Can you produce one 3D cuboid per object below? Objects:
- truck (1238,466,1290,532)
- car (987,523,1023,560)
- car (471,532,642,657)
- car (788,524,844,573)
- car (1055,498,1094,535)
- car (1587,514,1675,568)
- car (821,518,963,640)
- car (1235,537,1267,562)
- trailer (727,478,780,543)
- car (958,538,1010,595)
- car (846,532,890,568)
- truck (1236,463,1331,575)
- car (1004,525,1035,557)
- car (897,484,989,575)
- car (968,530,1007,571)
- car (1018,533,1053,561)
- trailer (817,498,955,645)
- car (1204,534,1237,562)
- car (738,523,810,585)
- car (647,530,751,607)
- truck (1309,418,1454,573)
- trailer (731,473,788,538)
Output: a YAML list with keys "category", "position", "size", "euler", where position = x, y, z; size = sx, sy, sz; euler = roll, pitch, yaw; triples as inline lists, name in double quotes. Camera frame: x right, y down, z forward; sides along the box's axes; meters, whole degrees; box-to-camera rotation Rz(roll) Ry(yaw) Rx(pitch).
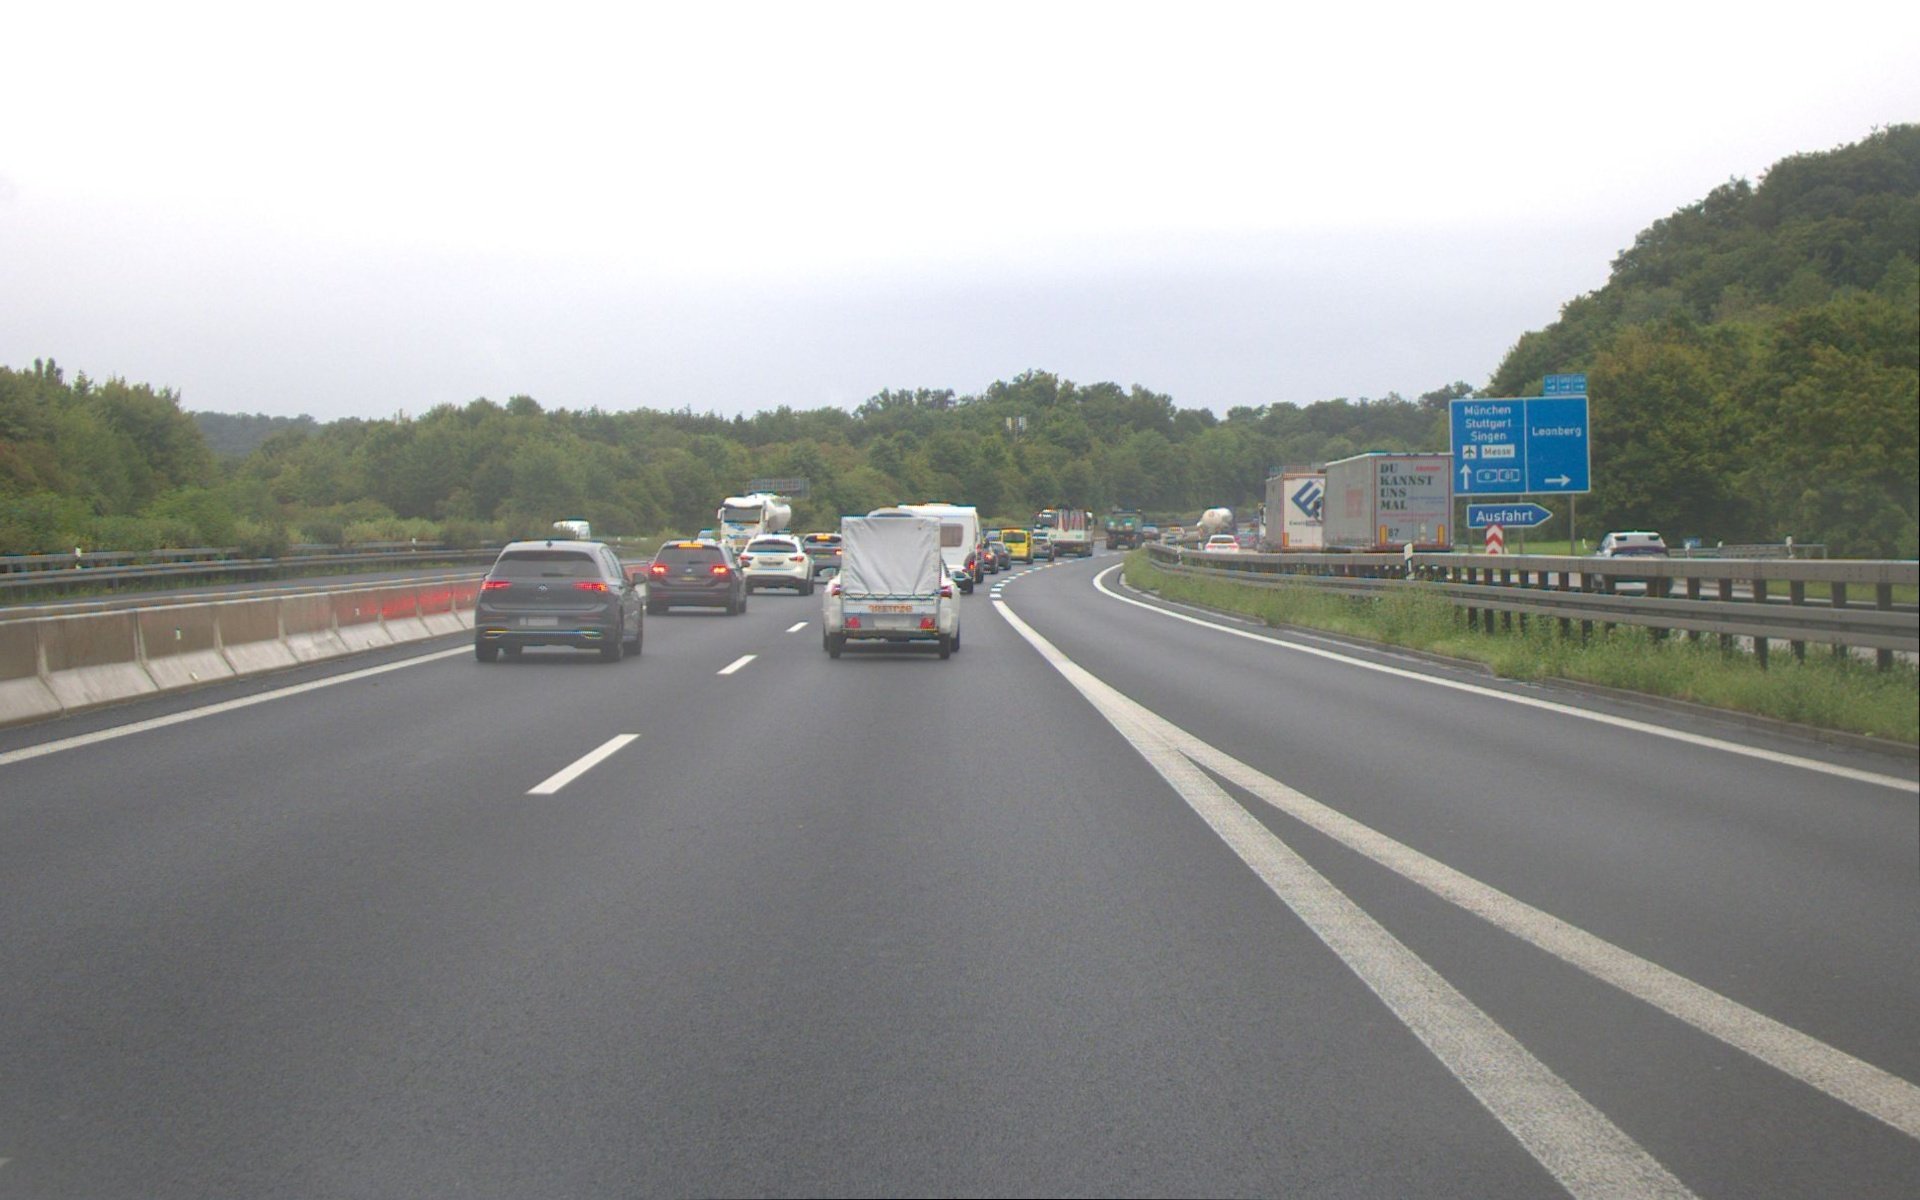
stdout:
- category: "truck"
  position: [22.512, -7.463, 255.370]
  size: [3.663, 4.650, 13.031]
  euler: [1, 1, 4]
- category: "car"
  position: [2.253, -2.916, 171.583]
  size: [1.676, 1.806, 4.000]
  euler: [1, 1, 2]
- category: "car"
  position: [-4.937, -0.091, 42.486]
  size: [1.675, 1.451, 4.000]
  euler: [1, 1, -1]
- category: "car"
  position: [-4.913, -1.759, 117.781]
  size: [1.775, 1.634, 4.043]
  euler: [1, 1, -1]
- category: "car"
  position: [8.026, -5.854, 241.364]
  size: [2.516, 2.566, 5.311]
  euler: [1, 1, 4]
- category: "car"
  position: [18.459, -1.625, 94.666]
  size: [1.676, 1.451, 4.000]
  euler: [1, 1, 1]
- category: "car"
  position: [-0.904, -0.317, 48.220]
  size: [1.818, 1.610, 4.778]
  euler: [1, 1, 1]
- category: "car"
  position: [17.648, -3.065, 208.725]
  size: [1.676, 1.451, 4.000]
  euler: [1, 1, 1]
- category: "trailer"
  position: [-12.154, -5.258, 202.648]
  size: [2.636, 3.703, 6.492]
  euler: [1, 1, 1]
- category: "car"
  position: [0.893, -1.230, 126.755]
  size: [1.676, 2.060, 4.000]
  euler: [1, 1, 4]
- category: "car"
  position: [-4.217, -2.304, 158.359]
  size: [1.776, 1.634, 4.043]
  euler: [1, 1, 1]
- category: "truck"
  position: [13.992, -3.456, 149.629]
  size: [3.216, 4.650, 13.032]
  euler: [1, 1, 2]
- category: "car"
  position: [3.467, -3.431, 199.800]
  size: [1.676, 1.806, 4.000]
  euler: [1, 1, 2]
- category: "car"
  position: [-0.460, -2.068, 101.845]
  size: [2.507, 2.576, 5.699]
  euler: [1, 1, 2]
- category: "car"
  position: [1.260, -2.239, 155.104]
  size: [1.676, 1.806, 4.000]
  euler: [1, 1, 2]
- category: "car"
  position: [4.713, -3.291, 214.175]
  size: [2.037, 1.677, 4.000]
  euler: [1, 1, 3]
- category: "trailer"
  position: [-0.916, -0.381, 44.489]
  size: [1.676, 1.806, 4.000]
  euler: [1, 1, 0]
- category: "car"
  position: [13.926, -2.765, 184.090]
  size: [1.676, 1.451, 4.000]
  euler: [1, 1, 3]
- category: "car"
  position: [-5.028, -1.243, 93.284]
  size: [1.775, 1.634, 4.043]
  euler: [1, 1, -1]
- category: "car"
  position: [-5.127, -0.634, 67.897]
  size: [1.765, 1.451, 4.000]
  euler: [1, 1, -1]
- category: "truck"
  position: [13.445, -3.259, 110.857]
  size: [3.215, 4.650, 13.033]
  euler: [1, 1, 1]
- category: "trailer"
  position: [-12.118, -5.686, 208.420]
  size: [2.636, 3.723, 10.811]
  euler: [1, 1, 1]
